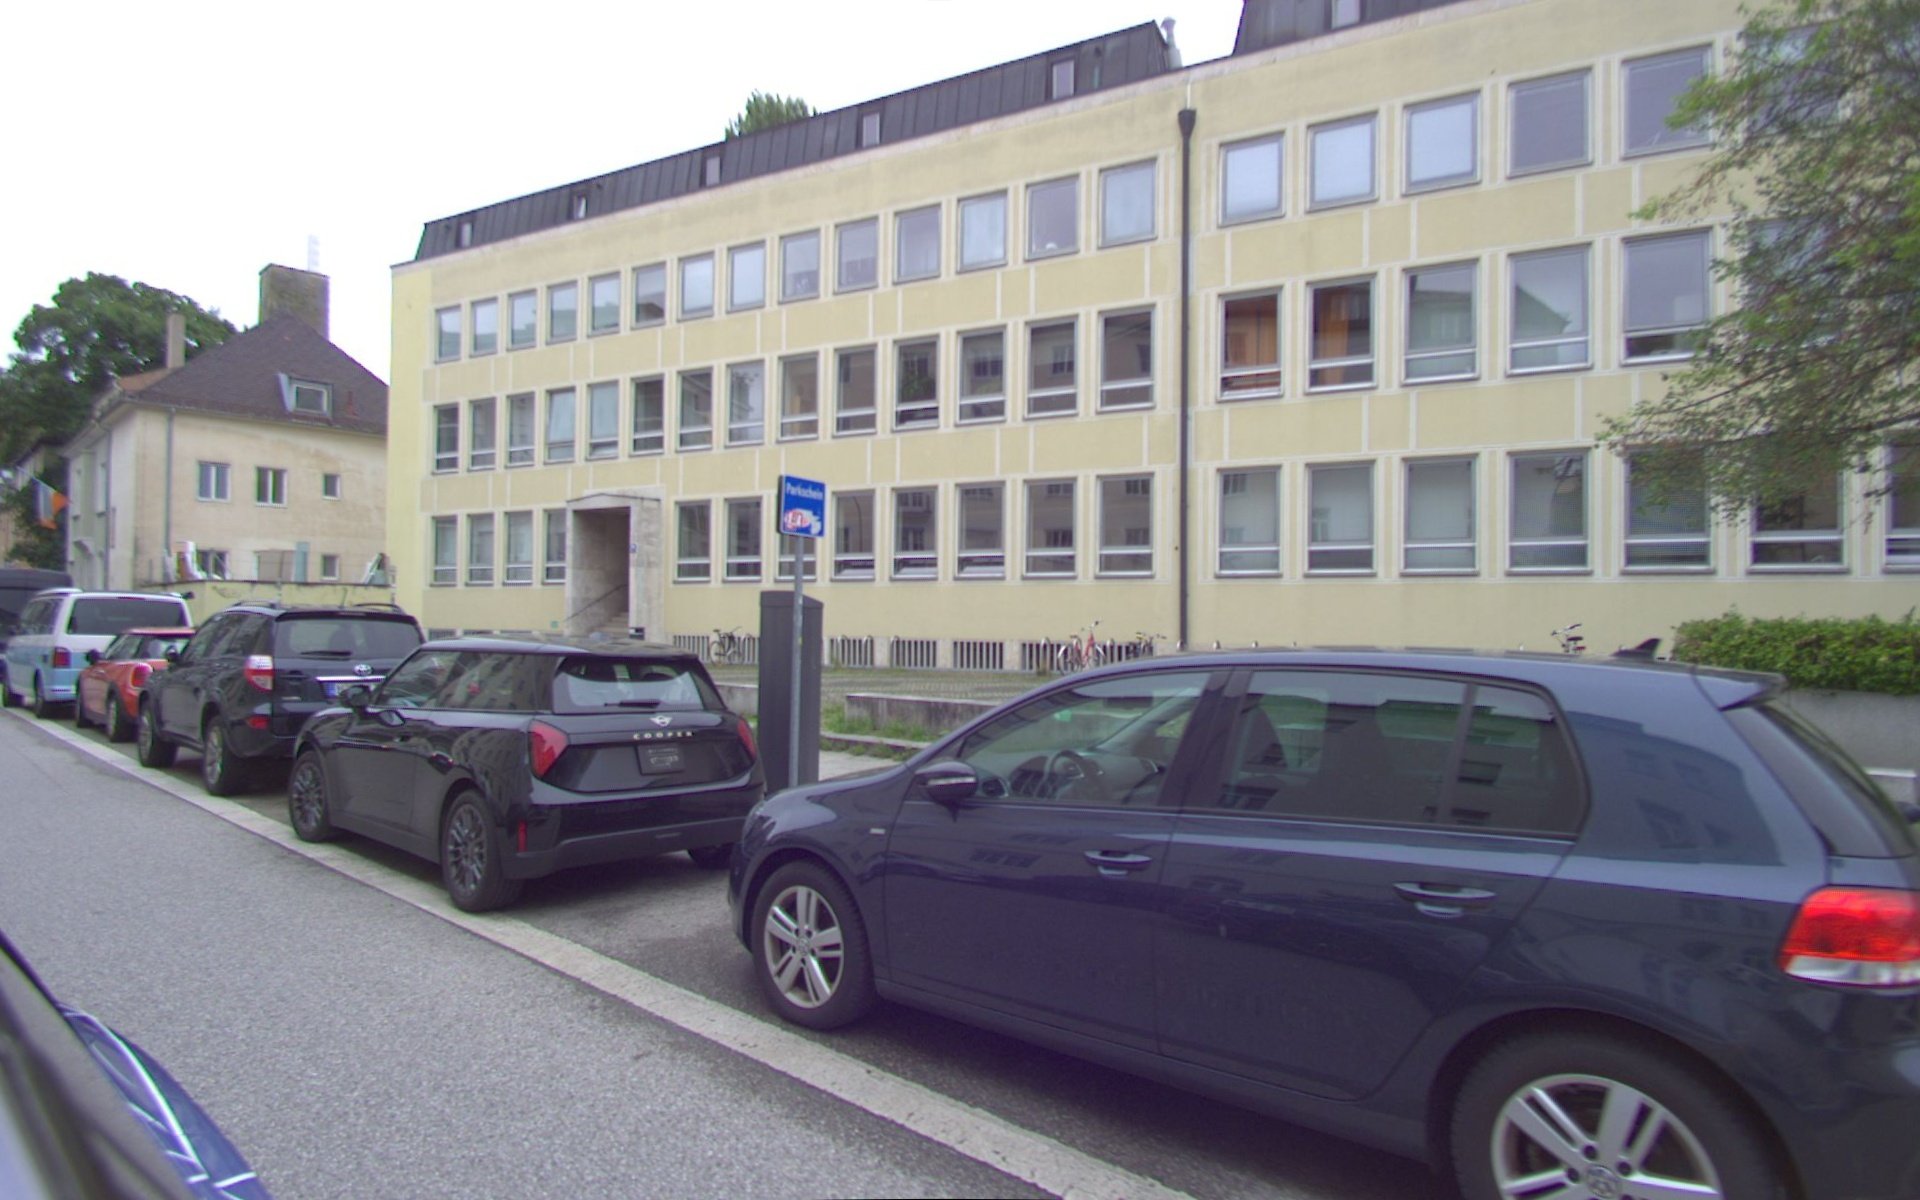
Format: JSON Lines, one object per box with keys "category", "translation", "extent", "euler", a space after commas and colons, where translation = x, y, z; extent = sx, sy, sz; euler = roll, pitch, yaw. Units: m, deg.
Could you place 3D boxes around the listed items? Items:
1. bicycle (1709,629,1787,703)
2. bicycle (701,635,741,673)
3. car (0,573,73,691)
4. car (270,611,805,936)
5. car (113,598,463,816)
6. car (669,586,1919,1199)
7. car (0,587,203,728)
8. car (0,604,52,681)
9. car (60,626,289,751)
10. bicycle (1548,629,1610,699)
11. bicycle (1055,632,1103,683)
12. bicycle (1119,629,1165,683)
{"category": "bicycle", "translation": [12.630, 1.026, 16.264], "extent": [0.572, 1.036, 1.822], "euler": [-1, 0, 25]}
{"category": "bicycle", "translation": [-6.161, 1.376, 26.166], "extent": [0.287, 0.909, 1.233], "euler": [-1, 0, 26]}
{"category": "car", "translation": [-23.981, 0.756, 25.393], "extent": [4.958, 2.737, 1.973], "euler": [0, 0, 41]}
{"category": "car", "translation": [-2.889, 0.833, 6.591], "extent": [3.683, 1.478, 1.723], "euler": [0, 0, 40]}
{"category": "car", "translation": [-6.696, 0.883, 9.924], "extent": [4.119, 1.701, 1.722], "euler": [0, -3, 40]}
{"category": "car", "translation": [0.928, 0.756, 3.528], "extent": [4.078, 1.557, 1.723], "euler": [0, 0, 39]}
{"category": "car", "translation": [-14.193, 0.867, 16.472], "extent": [4.350, 1.991, 1.925], "euler": [0, -3, 39]}
{"category": "car", "translation": [-28.403, 1.192, 29.587], "extent": [4.958, 2.098, 2.186], "euler": [0, 0, 41]}
{"category": "car", "translation": [-10.676, 1.107, 13.691], "extent": [3.453, 1.415, 1.722], "euler": [0, -3, 40]}
{"category": "bicycle", "translation": [10.637, 1.067, 17.457], "extent": [0.640, 1.036, 2.179], "euler": [-1, 0, 25]}
{"category": "bicycle", "translation": [2.591, 1.220, 21.955], "extent": [0.388, 0.997, 1.721], "euler": [-1, 0, 30]}
{"category": "bicycle", "translation": [3.795, 1.142, 21.016], "extent": [0.388, 0.997, 1.721], "euler": [-1, 0, 30]}
